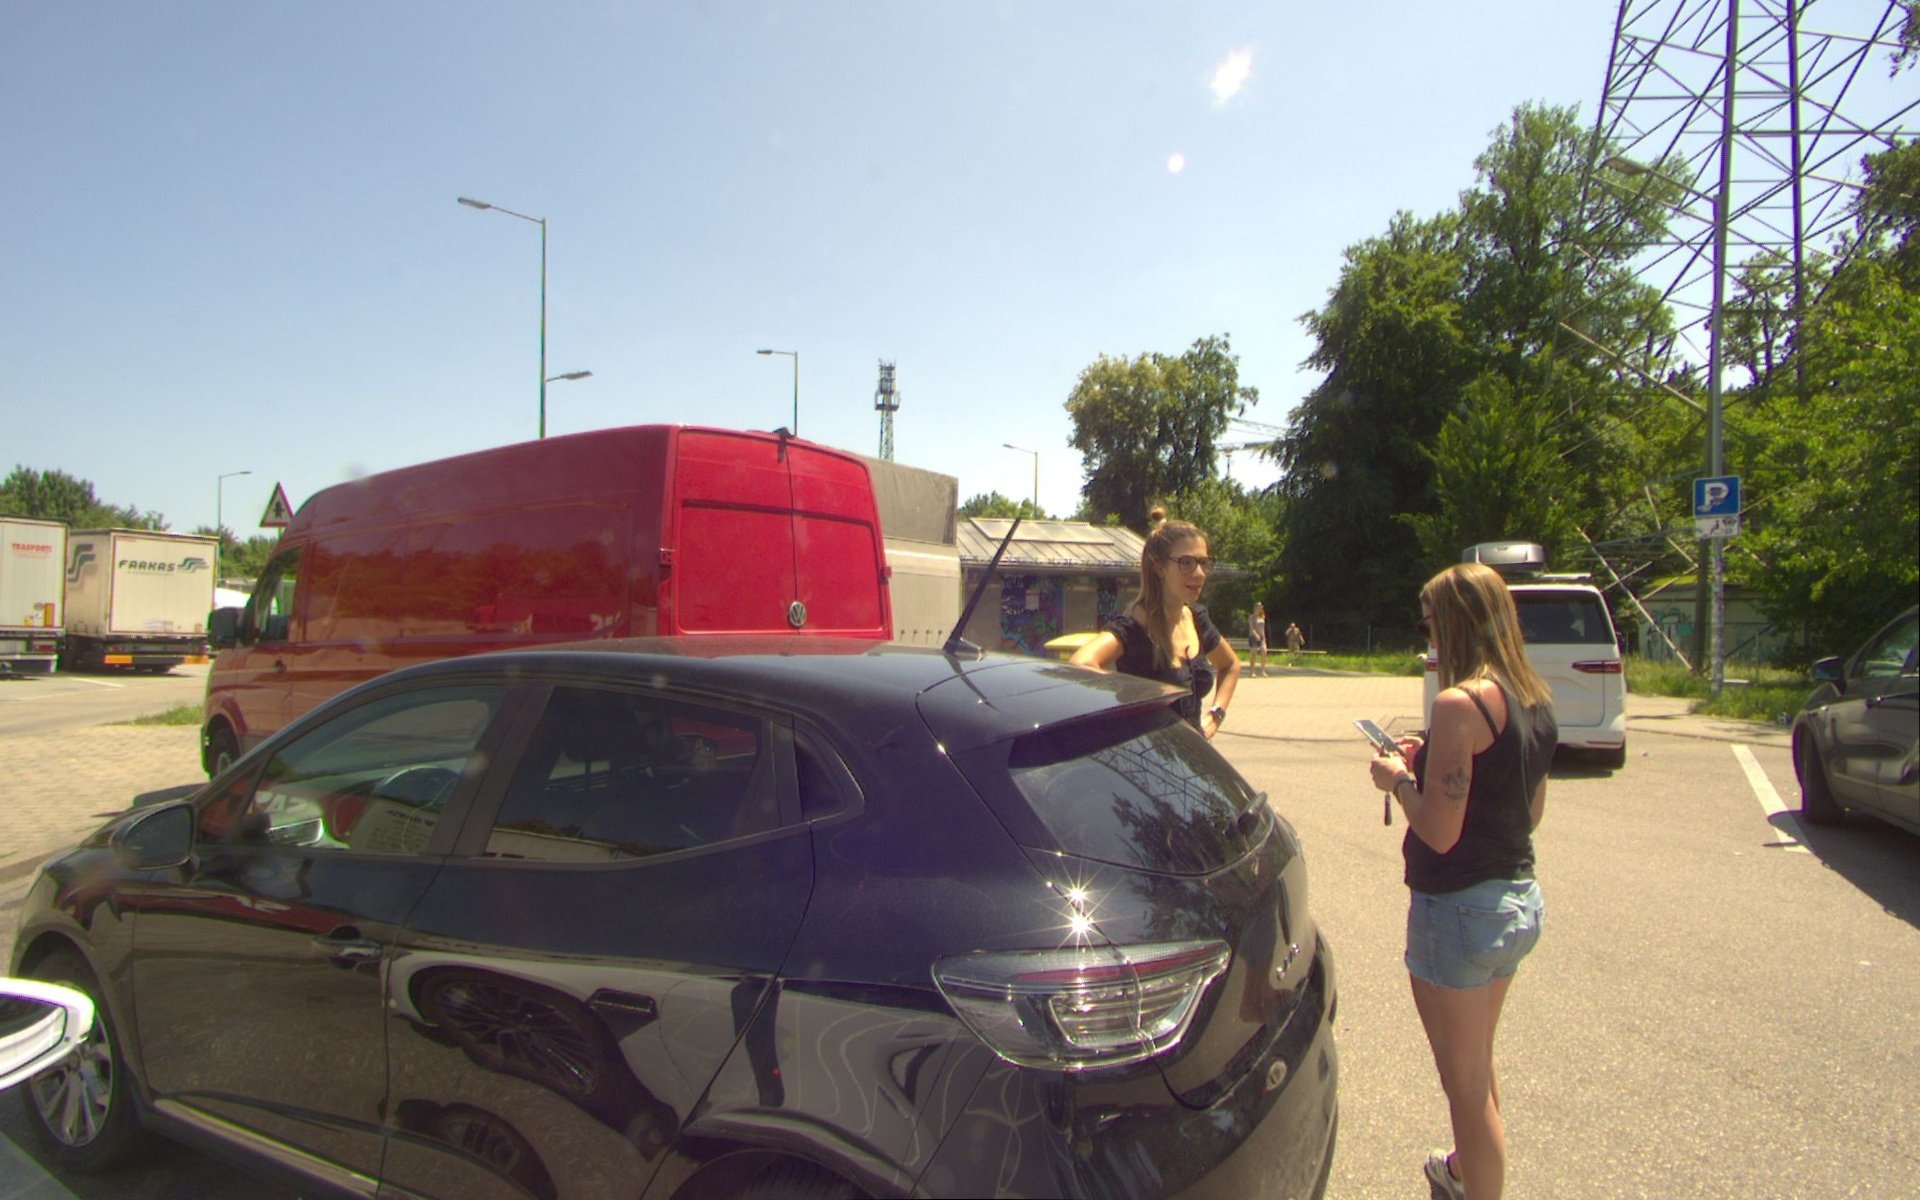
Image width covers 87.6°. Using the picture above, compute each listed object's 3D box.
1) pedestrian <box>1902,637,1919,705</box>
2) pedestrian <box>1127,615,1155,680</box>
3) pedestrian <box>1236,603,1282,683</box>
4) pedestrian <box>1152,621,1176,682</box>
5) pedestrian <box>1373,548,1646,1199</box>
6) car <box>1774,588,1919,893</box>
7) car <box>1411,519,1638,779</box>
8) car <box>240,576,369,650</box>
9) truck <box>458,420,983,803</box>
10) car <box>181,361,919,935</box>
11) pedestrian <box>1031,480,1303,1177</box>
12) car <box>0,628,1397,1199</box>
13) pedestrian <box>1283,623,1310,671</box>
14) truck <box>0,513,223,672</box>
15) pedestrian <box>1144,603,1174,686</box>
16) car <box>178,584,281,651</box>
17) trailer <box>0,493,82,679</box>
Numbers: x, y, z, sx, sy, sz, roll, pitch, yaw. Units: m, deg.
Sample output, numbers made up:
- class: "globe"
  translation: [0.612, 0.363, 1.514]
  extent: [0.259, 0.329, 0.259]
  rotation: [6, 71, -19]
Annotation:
- class: "pedestrian"
  translation: [17.147, 1.242, 17.522]
  extent: [0.694, 1.178, 0.787]
  rotation: [-1, -1, 22]
- class: "pedestrian"
  translation: [4.167, 1.085, 23.062]
  extent: [0.521, 1.478, 0.576]
  rotation: [0, 0, 23]
- class: "pedestrian"
  translation: [7.289, 1.044, 24.400]
  extent: [0.762, 1.903, 0.840]
  rotation: [0, -1, -11]
- class: "pedestrian"
  translation: [4.612, 1.150, 22.671]
  extent: [0.439, 1.362, 0.477]
  rotation: [0, 0, 23]
- class: "pedestrian"
  translation: [1.225, 0.713, 2.266]
  extent: [0.478, 1.615, 0.501]
  rotation: [0, 0, 29]
- class: "car"
  translation: [6.395, 0.779, 5.789]
  extent: [1.810, 1.638, 4.152]
  rotation: [0, -1, 28]
- class: "car"
  translation: [6.637, 0.515, 11.896]
  extent: [1.901, 2.401, 4.954]
  rotation: [1, -1, 29]
- class: "car"
  translation: [-29.461, 0.592, 44.938]
  extent: [6.259, 3.115, 2.495]
  rotation: [0, -1, 32]
- class: "truck"
  translation: [-2.437, 0.169, 9.880]
  extent: [4.751, 2.863, 2.514]
  rotation: [-1, -2, 34]
- class: "car"
  translation: [-3.385, 0.249, 7.327]
  extent: [6.298, 2.668, 1.988]
  rotation: [0, -1, 36]
- class: "pedestrian"
  translation: [0.692, 0.628, 3.216]
  extent: [0.481, 1.884, 0.906]
  rotation: [0, 0, 39]
- class: "car"
  translation: [-0.798, 0.832, 2.789]
  extent: [3.627, 1.476, 1.776]
  rotation: [-1, -2, 26]
- class: "pedestrian"
  translation: [14.475, 2.012, 43.116]
  extent: [0.955, 2.039, 0.829]
  rotation: [0, -1, 10]
- class: "truck"
  translation: [-27.128, -0.029, 31.215]
  extent: [11.800, 4.279, 2.582]
  rotation: [-1, -2, 32]
- class: "pedestrian"
  translation: [4.350, 0.962, 21.878]
  extent: [0.520, 1.783, 0.651]
  rotation: [0, 0, 23]
- class: "car"
  translation: [-29.932, 0.747, 41.021]
  extent: [3.943, 2.632, 2.111]
  rotation: [-1, -2, 32]
- class: "trailer"
  translation: [-28.595, -0.344, 27.862]
  extent: [12.642, 4.511, 2.677]
  rotation: [0, -1, 32]
